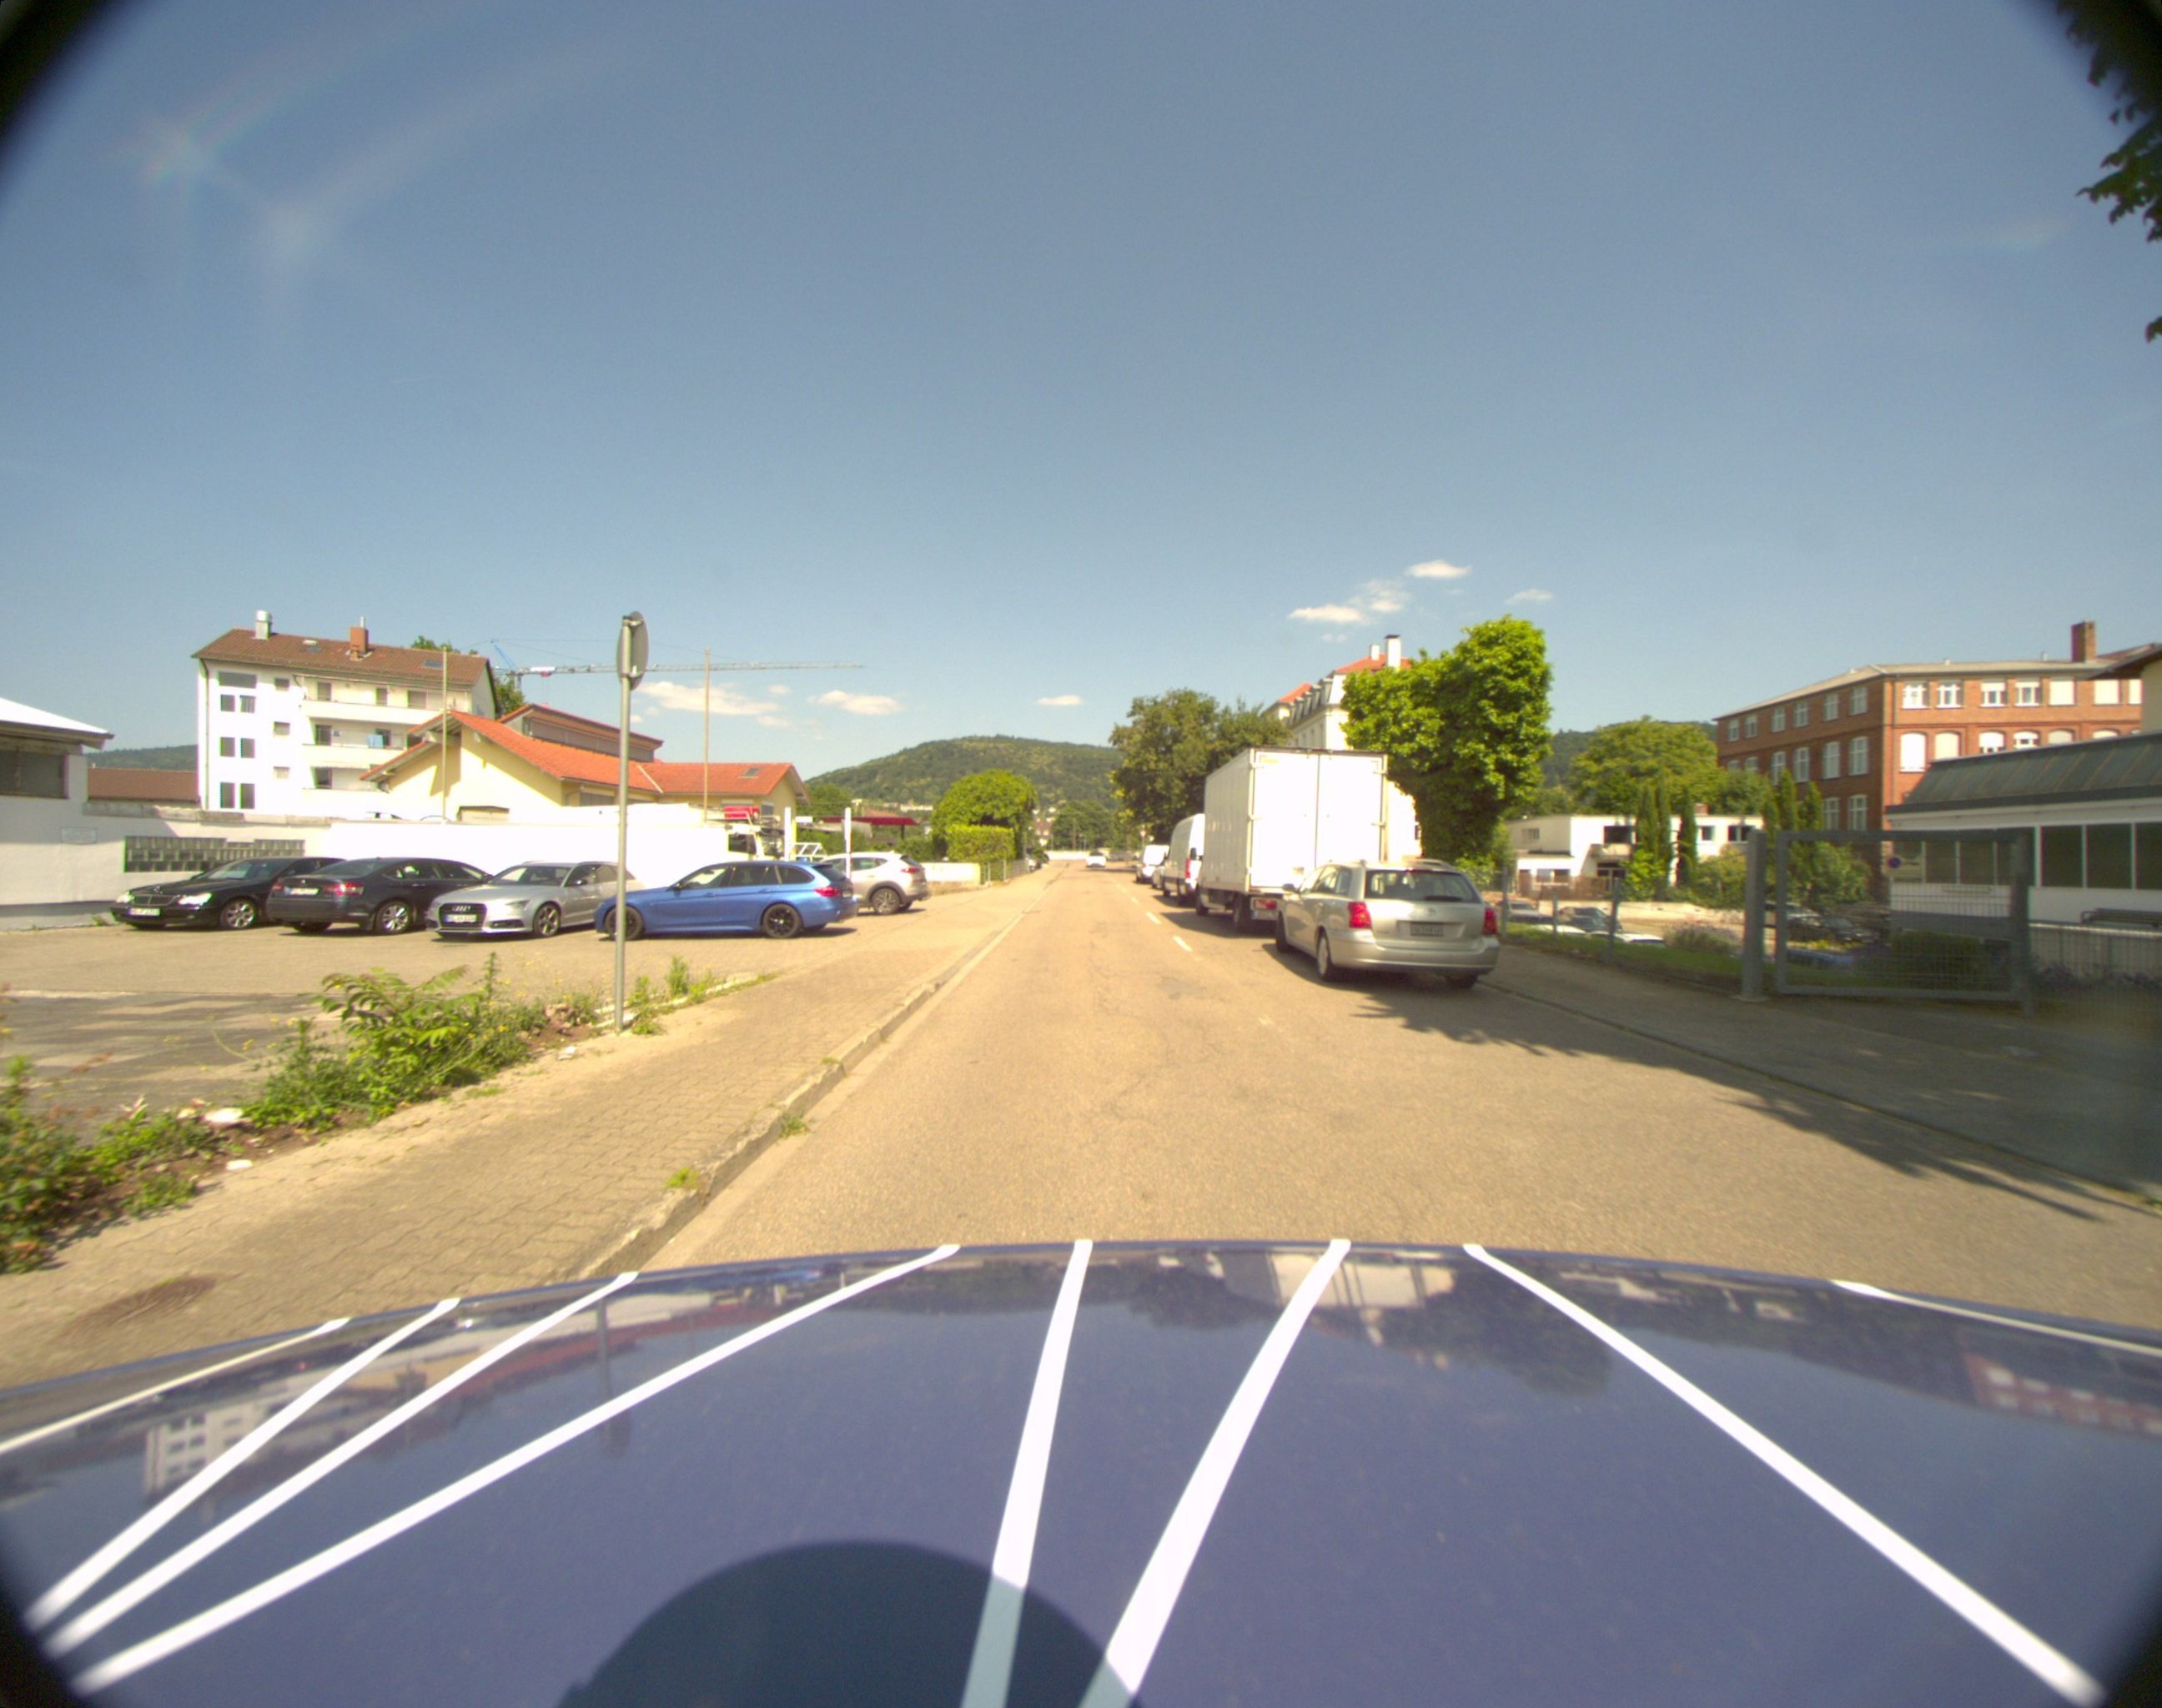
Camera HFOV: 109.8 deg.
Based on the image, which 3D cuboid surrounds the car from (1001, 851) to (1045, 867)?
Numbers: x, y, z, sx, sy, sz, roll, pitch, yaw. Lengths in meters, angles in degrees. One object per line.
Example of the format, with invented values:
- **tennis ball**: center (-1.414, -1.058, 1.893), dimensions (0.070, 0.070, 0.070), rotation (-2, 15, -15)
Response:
- **car**: center (-4.799, 0.392, 63.204), dimensions (3.558, 1.327, 1.558), rotation (0, 0, -1)

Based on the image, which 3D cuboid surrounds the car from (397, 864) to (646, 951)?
- **car**: center (-10.967, 0.957, 15.401), dimensions (1.891, 1.433, 4.454), rotation (0, 0, -3)

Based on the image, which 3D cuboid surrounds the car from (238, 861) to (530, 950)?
- **car**: center (-13.737, 0.919, 15.398), dimensions (1.890, 1.433, 4.188), rotation (2, 0, 4)

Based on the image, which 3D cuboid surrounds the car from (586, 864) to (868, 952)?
- **car**: center (-6.468, 0.952, 14.265), dimensions (4.364, 1.433, 1.892), rotation (-1, 0, 0)

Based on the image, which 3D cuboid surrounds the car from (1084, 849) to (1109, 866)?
- **car**: center (1.478, 0.298, 73.068), dimensions (1.897, 1.412, 4.167), rotation (2, 1, -6)

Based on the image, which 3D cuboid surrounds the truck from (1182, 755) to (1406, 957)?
- **truck**: center (4.051, -0.006, 16.322), dimensions (2.692, 3.347, 7.128), rotation (1, 1, -1)

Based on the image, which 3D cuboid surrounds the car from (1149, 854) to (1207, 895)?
- **car**: center (4.103, 0.830, 32.770), dimensions (1.719, 1.535, 4.399), rotation (2, 1, -2)

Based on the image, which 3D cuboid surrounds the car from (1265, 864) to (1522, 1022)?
- **car**: center (3.731, 0.945, 9.966), dimensions (1.745, 1.512, 4.311), rotation (2, 0, 3)

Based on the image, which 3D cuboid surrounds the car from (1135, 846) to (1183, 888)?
- **car**: center (4.021, 0.592, 39.916), dimensions (1.976, 2.002, 5.055), rotation (2, 1, 1)

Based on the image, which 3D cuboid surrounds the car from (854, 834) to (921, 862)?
- **car**: center (-18.687, -0.561, 73.277), dimensions (6.026, 2.663, 2.255), rotation (1, 1, -22)

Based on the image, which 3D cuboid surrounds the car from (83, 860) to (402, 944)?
- **car**: center (-16.598, 0.863, 15.413), dimensions (1.890, 1.384, 4.028), rotation (2, 0, 4)

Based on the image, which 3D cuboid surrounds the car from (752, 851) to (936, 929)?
- **car**: center (-6.169, 0.922, 20.165), dimensions (4.212, 1.672, 1.766), rotation (-4, 1, 0)

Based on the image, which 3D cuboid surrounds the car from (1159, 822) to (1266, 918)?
- **car**: center (3.945, 0.388, 24.173), dimensions (2.174, 2.581, 6.919), rotation (2, 1, 0)

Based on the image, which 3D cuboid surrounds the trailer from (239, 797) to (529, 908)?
- **trailer**: center (-25.620, -0.070, 28.174), dimensions (8.351, 3.841, 3.068), rotation (0, 1, 6)

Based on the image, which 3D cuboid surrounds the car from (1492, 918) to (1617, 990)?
- **car**: center (17.021, 3.524, 27.585), dimensions (1.866, 1.919, 4.353), rotation (-1, 1, 1)

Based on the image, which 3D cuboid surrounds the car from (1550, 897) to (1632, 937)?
- **car**: center (27.235, 3.328, 40.759), dimensions (1.997, 1.674, 4.001), rotation (2, 1, 7)

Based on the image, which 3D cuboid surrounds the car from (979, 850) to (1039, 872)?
- **car**: center (-5.471, 0.519, 58.002), dimensions (4.415, 1.519, 1.896), rotation (2, 1, -2)

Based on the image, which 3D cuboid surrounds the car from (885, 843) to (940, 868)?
- **car**: center (-15.659, 0.113, 70.494), dimensions (4.567, 2.138, 1.928), rotation (1, 0, 18)

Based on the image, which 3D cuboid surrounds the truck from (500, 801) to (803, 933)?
- **truck**: center (-12.696, 0.371, 22.912), dimensions (7.537, 3.403, 2.527), rotation (-3, 1, 1)

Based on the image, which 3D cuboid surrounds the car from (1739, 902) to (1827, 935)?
- **car**: center (44.549, 4.038, 48.364), dimensions (1.820, 1.667, 4.606), rotation (3, 0, 9)

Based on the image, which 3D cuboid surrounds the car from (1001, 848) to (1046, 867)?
- **car**: center (-4.978, 0.328, 66.133), dimensions (3.812, 1.614, 1.759), rotation (0, 0, -1)

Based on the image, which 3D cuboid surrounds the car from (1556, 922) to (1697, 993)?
- **car**: center (19.541, 3.643, 27.499), dimensions (1.923, 1.841, 4.415), rotation (0, 2, 0)
